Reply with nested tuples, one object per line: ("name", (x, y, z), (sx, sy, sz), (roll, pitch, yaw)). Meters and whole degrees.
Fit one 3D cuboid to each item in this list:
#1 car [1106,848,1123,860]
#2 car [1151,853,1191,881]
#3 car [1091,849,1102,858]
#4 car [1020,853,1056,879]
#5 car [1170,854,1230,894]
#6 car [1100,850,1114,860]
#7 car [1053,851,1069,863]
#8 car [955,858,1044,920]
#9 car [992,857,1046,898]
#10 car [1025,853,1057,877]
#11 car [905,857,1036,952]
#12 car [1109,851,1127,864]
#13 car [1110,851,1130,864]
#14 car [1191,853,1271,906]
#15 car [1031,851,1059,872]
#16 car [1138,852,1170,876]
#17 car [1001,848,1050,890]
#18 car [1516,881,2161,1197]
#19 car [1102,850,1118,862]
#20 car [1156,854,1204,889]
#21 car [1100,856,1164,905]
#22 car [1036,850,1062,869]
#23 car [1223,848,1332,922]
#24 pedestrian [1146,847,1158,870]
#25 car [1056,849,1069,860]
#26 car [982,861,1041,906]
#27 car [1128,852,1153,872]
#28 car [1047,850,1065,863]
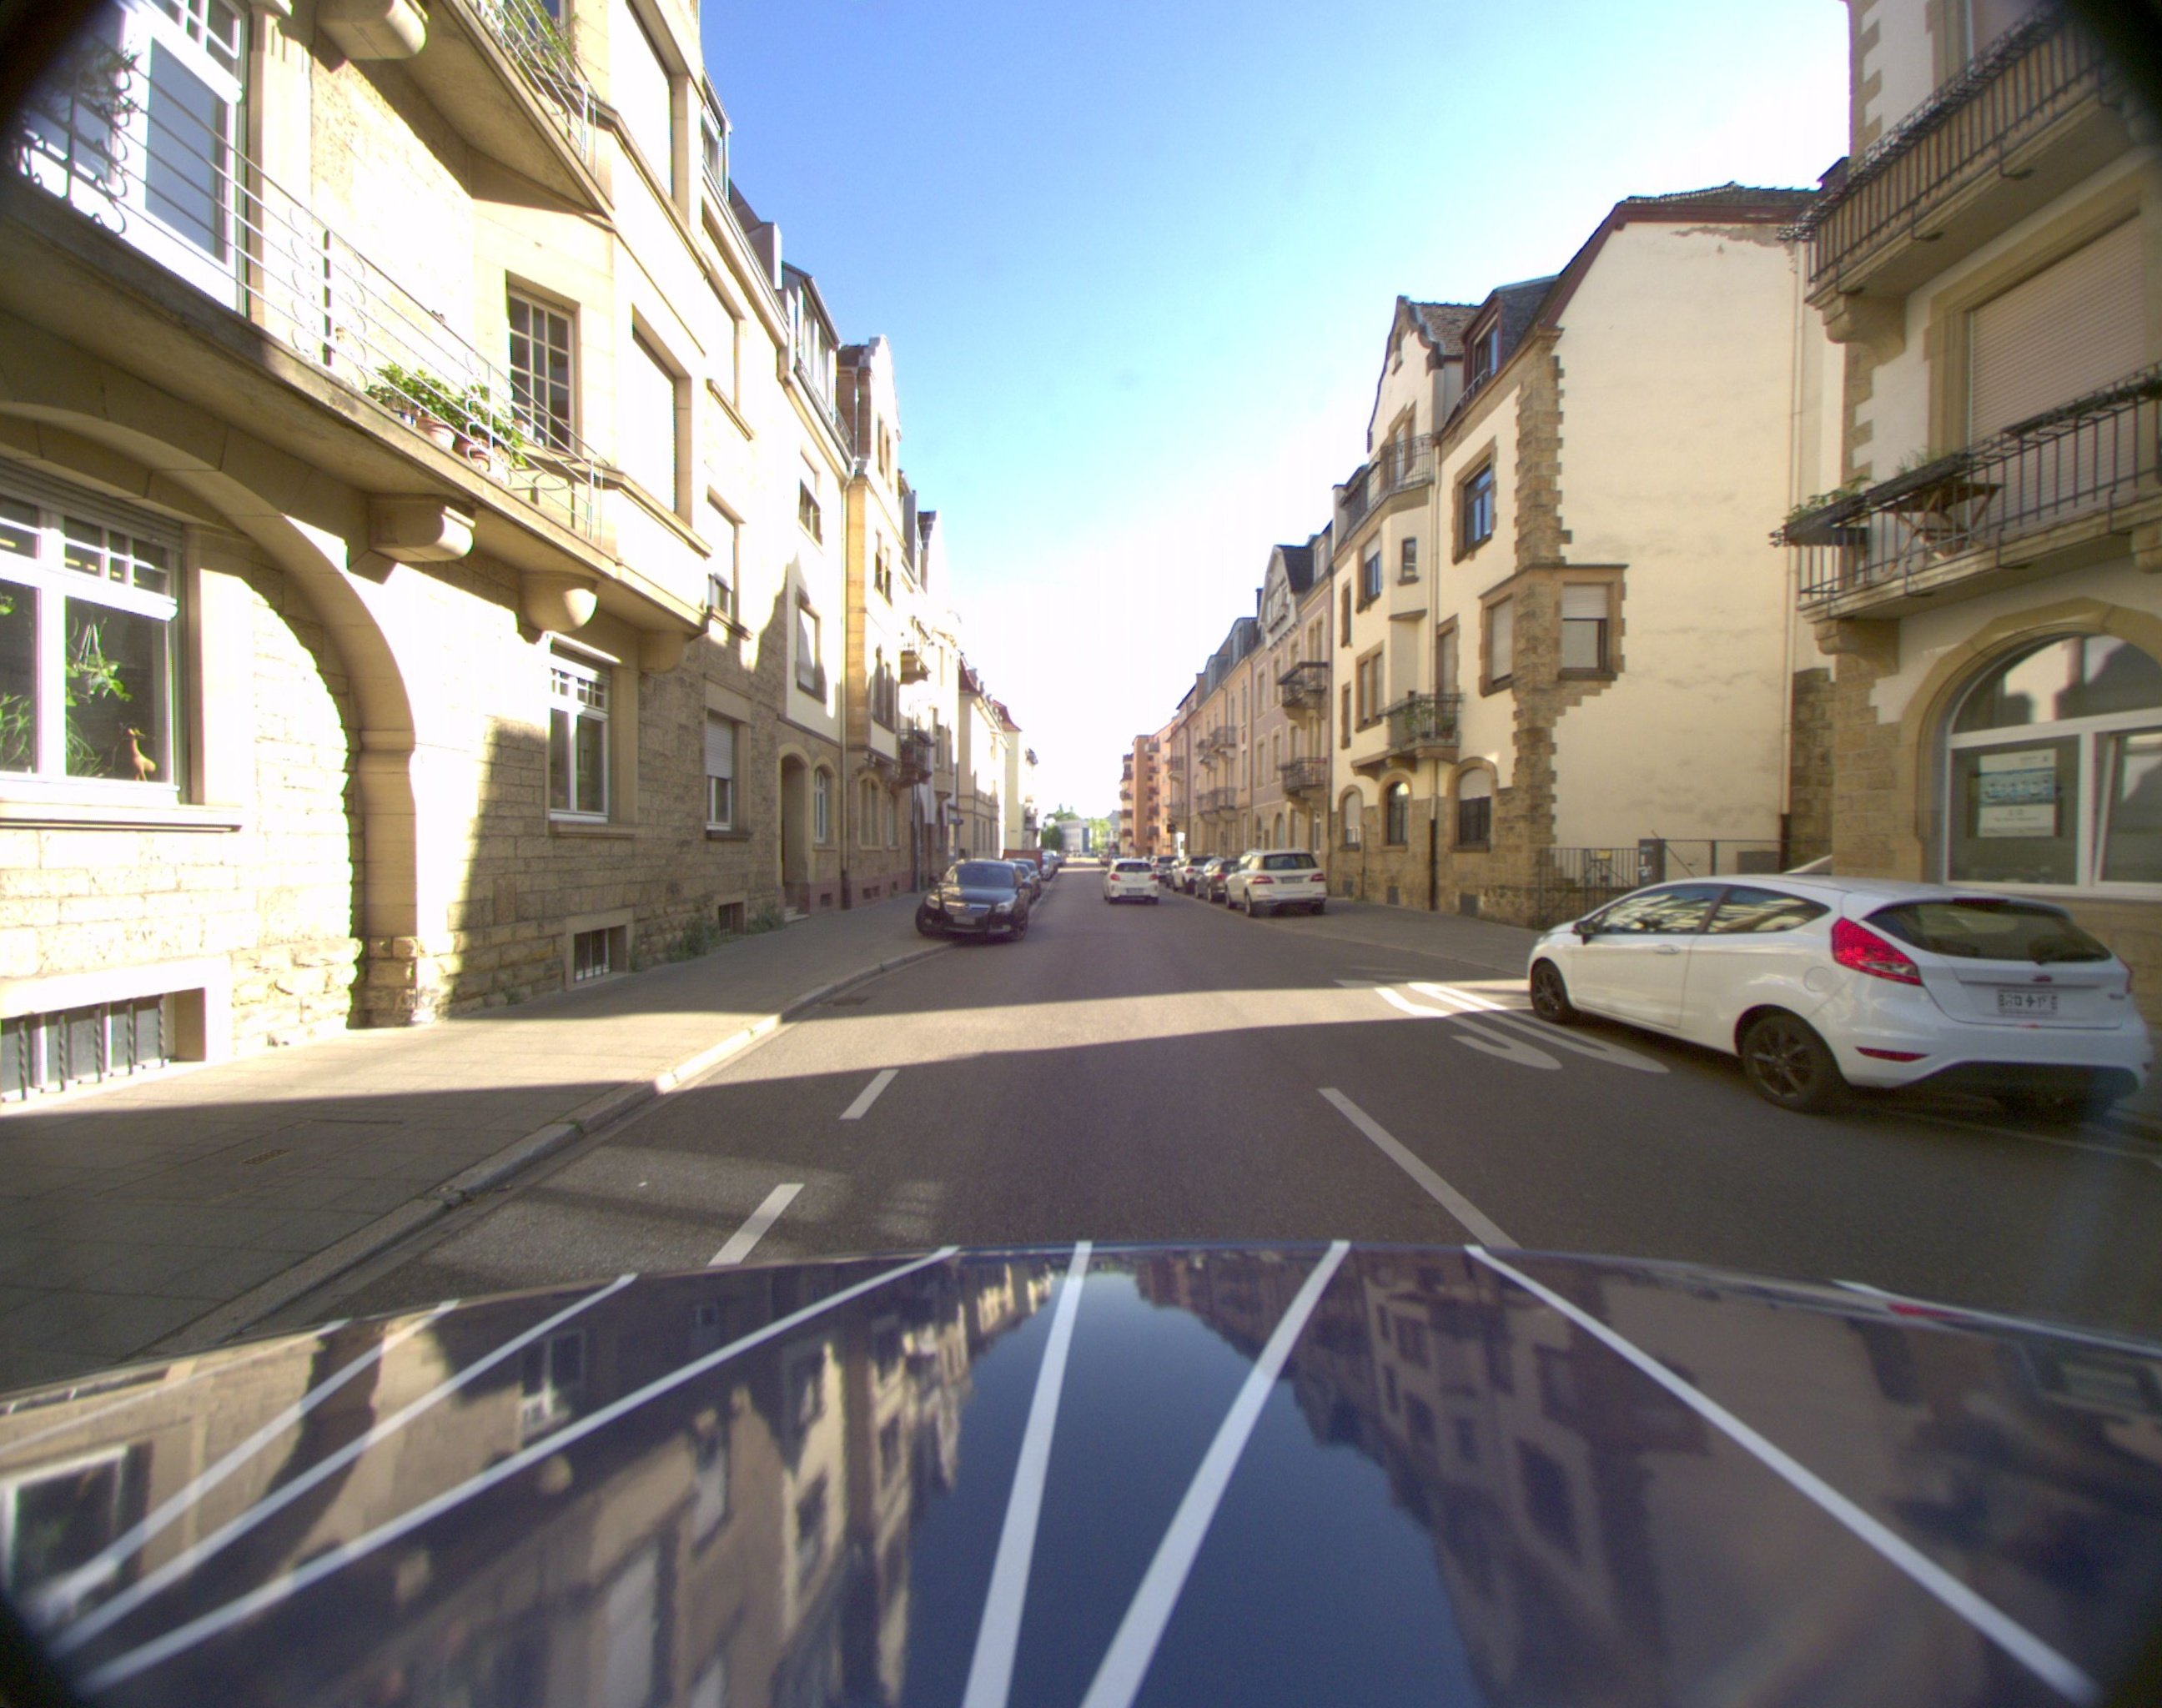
("car", (4.503, 0.000, 101.954), (2.005, 1.500, 4.320), (1, 1, -1))
("car", (5.351, 0.720, 45.826), (1.890, 1.500, 4.320), (-2, 1, 1))
("car", (2.868, -0.096, 142.595), (2.005, 1.500, 4.320), (1, 1, -1))
("car", (-2.657, 0.716, 47.863), (2.005, 1.500, 4.320), (1, 1, -1))
("car", (4.981, 0.794, 32.362), (1.890, 1.500, 4.320), (-2, 1, 1))
("car", (3.951, 0.184, 116.756), (2.005, 1.500, 4.320), (1, 1, -1))
("car", (-2.590, 0.427, 99.948), (2.005, 1.500, 4.320), (1, 1, -1))
("car", (-2.100, 0.873, 20.795), (2.005, 1.499, 4.321), (1, 0, -1))
("car", (-2.388, 0.890, 30.116), (1.824, 1.415, 4.320), (1, 1, -1))
("car", (-2.753, 0.735, 52.637), (2.005, 1.500, 4.320), (1, 1, -1))
("car", (-2.040, 0.881, 15.240), (2.024, 1.500, 4.111), (2, 1, -1))
("car", (4.616, 0.389, 96.202), (2.005, 1.500, 4.320), (1, 1, -1))
("car", (4.666, 0.406, 91.388), (2.005, 1.500, 4.320), (1, 1, -1))
("car", (5.120, 0.820, 26.541), (1.890, 1.500, 4.320), (-4, 1, 1))
("car", (-2.750, 0.534, 58.662), (2.005, 1.500, 4.320), (1, 1, -1))
("car", (4.987, 0.667, 52.347), (1.809, 1.500, 4.003), (-2, 1, 1))
("car", (-2.563, 0.649, 35.806), (2.005, 1.828, 4.320), (1, 1, -1))
("car", (5.110, 1.015, 5.702), (1.656, 1.449, 3.643), (2, 0, 2))
("car", (4.104, 0.285, 107.248), (2.005, 1.500, 4.320), (1, 1, -1))
("car", (4.852, 0.816, 37.803), (1.857, 1.491, 4.318), (-2, 1, 1))
("car", (1.644, 0.842, 25.615), (1.703, 1.474, 3.533), (1, 0, -4))
("car", (-2.677, 0.450, 64.495), (2.005, 1.500, 4.320), (1, 1, -1))
("car", (5.192, 0.752, 20.687), (1.890, 1.717, 4.211), (-2, 1, 1))
("pedestrian", (6.283, 0.417, 67.745), (0.952, 2.002, 1.066), (-2, 1, 3))
("car", (-2.950, 0.064, 123.332), (2.005, 1.722, 4.320), (1, 1, -1))
("car", (-2.237, 0.926, 25.374), (1.661, 1.272, 3.729), (1, 1, -1))
("car", (4.888, 0.640, 62.969), (1.793, 1.500, 4.320), (-2, 1, 1))
("car", (-2.851, 0.263, 88.975), (2.005, 1.500, 4.320), (1, 1, -1))
